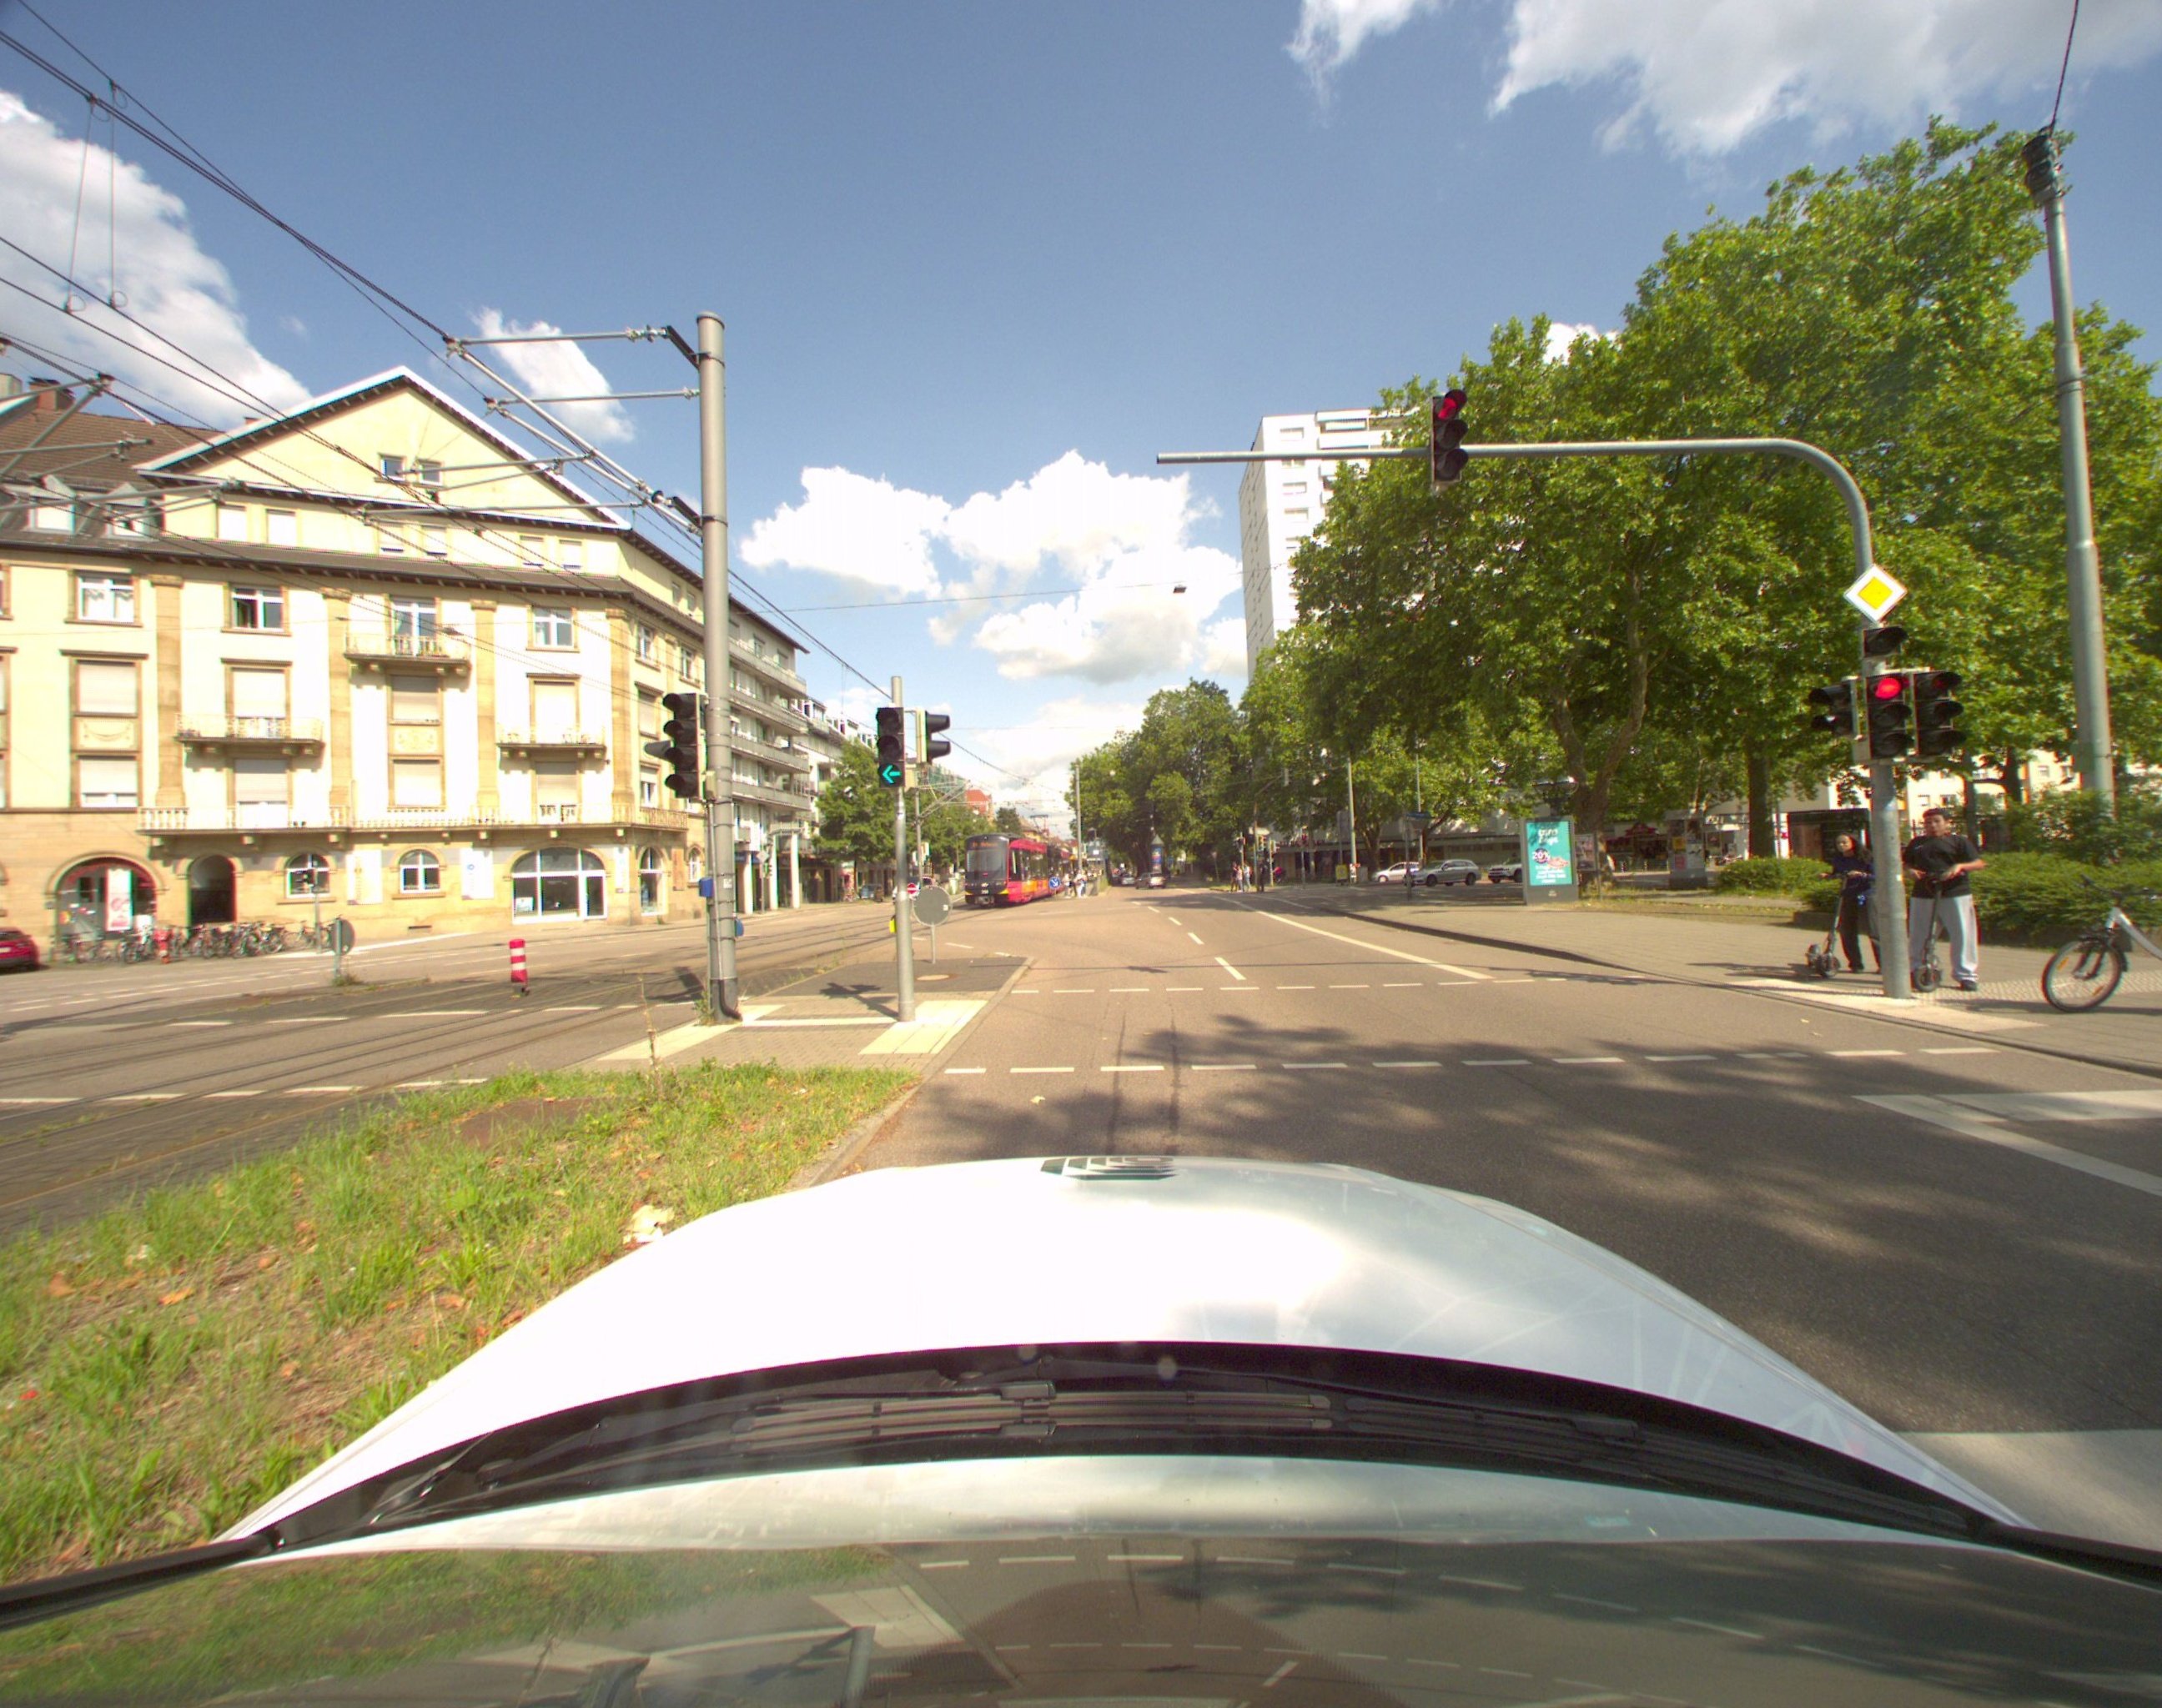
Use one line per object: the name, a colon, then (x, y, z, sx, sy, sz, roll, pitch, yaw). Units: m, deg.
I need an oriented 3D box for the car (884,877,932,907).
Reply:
car: (-12.156, 2.659, 57.679, 1.985, 1.891, 5.175, -3, -1, 3)

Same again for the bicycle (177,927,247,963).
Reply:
bicycle: (-30.296, 3.159, 28.429, 0.538, 1.018, 1.923, -2, 1, -8)

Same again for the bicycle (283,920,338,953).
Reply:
bicycle: (-28.687, 3.059, 30.353, 0.609, 1.018, 1.868, -2, 0, -13)

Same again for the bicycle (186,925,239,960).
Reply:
bicycle: (-31.270, 3.183, 29.355, 0.541, 1.018, 1.914, -2, 1, -23)

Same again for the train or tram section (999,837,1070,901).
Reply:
train or tram section: (-2.784, 0.966, 52.650, 2.792, 3.561, 11.196, -3, -1, 5)

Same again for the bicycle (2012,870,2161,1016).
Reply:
bicycle: (8.790, 0.698, 6.525, 1.610, 1.112, 0.510, -7, -3, 41)

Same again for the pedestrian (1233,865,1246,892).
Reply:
pedestrian: (9.574, 1.470, 49.217, 0.512, 1.598, 0.553, -2, -2, -19)

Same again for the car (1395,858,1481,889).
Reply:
car: (19.665, 1.082, 44.872, 3.993, 1.490, 1.852, -2, -2, -15)

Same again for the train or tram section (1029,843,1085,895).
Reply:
train or tram section: (-1.721, 1.190, 64.309, 2.792, 3.561, 12.172, -3, -1, 5)

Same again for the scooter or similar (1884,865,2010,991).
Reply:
scooter or similar: (8.731, 0.731, 8.250, 0.538, 1.171, 0.882, -5, -1, 28)

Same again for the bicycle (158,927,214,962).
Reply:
bicycle: (-31.895, 3.199, 29.055, 0.541, 1.018, 1.914, -2, 1, -23)

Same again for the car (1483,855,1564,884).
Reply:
car: (25.663, 0.914, 47.256, 4.075, 1.490, 1.849, -2, -2, -19)

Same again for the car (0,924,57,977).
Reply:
car: (-35.029, 3.125, 26.253, 3.948, 1.441, 1.981, -1, 0, 31)

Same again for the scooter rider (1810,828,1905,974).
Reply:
scooter rider: (8.906, 0.531, 9.353, 0.438, 1.593, 0.541, -4, -1, -20)

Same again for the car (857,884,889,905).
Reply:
car: (-19.137, 3.728, 75.107, 1.840, 1.789, 4.001, 0, -1, 2)

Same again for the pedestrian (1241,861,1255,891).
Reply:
pedestrian: (9.805, 1.270, 47.851, 0.529, 1.735, 0.553, -2, -2, -19)

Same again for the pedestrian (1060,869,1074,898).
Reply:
pedestrian: (-0.849, 1.735, 48.601, 0.666, 1.703, 0.649, -3, -2, 5)

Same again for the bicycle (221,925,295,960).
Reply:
bicycle: (-29.003, 3.098, 28.738, 0.598, 1.018, 1.879, -2, 0, 4)

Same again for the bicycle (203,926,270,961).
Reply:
bicycle: (-29.782, 3.140, 28.752, 0.538, 1.018, 1.923, -2, 0, -8)

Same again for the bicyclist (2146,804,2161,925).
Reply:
bicyclist: (8.965, 0.412, 6.353, 0.576, 1.668, 0.510, -7, -3, 41)

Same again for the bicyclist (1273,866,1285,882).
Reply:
bicyclist: (15.210, 1.522, 62.517, 0.803, 1.251, 0.485, -1, -2, 30)

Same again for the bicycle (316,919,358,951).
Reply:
bicycle: (-27.937, 3.029, 30.596, 0.611, 1.018, 1.861, -2, 1, -25)

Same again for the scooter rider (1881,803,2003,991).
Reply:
scooter rider: (8.706, 0.426, 8.267, 0.538, 1.810, 0.684, -5, -2, 28)

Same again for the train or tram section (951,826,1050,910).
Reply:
train or tram section: (-3.776, 0.711, 41.455, 2.783, 3.561, 11.391, -3, -1, 5)

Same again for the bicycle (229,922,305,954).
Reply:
bicycle: (-30.293, 3.109, 30.341, 1.928, 1.018, 0.537, -2, 1, -20)

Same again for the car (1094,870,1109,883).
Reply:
car: (2.901, 3.139, 114.093, 1.806, 1.804, 4.006, -3, -1, 5)

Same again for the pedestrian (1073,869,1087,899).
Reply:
pedestrian: (-0.063, 1.785, 48.614, 0.666, 1.703, 0.649, -3, -2, 5)

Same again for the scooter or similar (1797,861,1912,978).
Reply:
scooter or similar: (8.857, 0.733, 9.330, 0.877, 1.226, 0.541, -4, -1, -20)

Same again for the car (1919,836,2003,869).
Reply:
car: (47.251, -0.074, 43.746, 4.003, 1.501, 1.678, -3, -1, -22)

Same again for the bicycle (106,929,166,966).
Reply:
bicycle: (-32.832, 3.231, 28.320, 0.541, 1.018, 1.914, -2, 1, -23)

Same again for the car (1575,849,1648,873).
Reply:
car: (36.459, 0.488, 55.978, 3.831, 1.490, 1.857, -3, -1, -5)

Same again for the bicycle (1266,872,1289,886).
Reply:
bicycle: (15.103, 1.918, 62.571, 1.660, 1.089, 0.485, -1, -2, 30)

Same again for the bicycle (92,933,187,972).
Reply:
bicycle: (-30.757, 3.203, 26.635, 1.938, 1.018, 0.534, -3, 1, -39)

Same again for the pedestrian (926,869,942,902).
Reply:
pedestrian: (-8.989, 1.920, 49.780, 0.734, 2.014, 0.705, -3, -2, 8)

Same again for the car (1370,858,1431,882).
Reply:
car: (22.564, 1.127, 57.604, 3.638, 1.484, 1.741, -3, -1, 10)

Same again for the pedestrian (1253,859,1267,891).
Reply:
pedestrian: (10.128, 1.185, 46.045, 0.475, 1.825, 0.560, -4, -2, 45)

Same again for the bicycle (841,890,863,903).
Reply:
bicycle: (-19.017, 3.557, 67.613, 1.684, 0.986, 0.497, -3, -2, -1)

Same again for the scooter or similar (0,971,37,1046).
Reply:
scooter or similar: (-12.591, 1.776, 9.203, 0.836, 0.804, 0.553, -3, -2, -2)

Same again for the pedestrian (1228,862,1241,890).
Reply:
pedestrian: (9.383, 1.363, 49.771, 0.512, 1.671, 0.553, -2, -2, -19)

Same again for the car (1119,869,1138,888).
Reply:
car: (5.461, 2.822, 94.261, 1.986, 2.014, 4.001, -1, -1, 2)

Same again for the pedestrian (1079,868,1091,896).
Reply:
pedestrian: (0.251, 1.739, 50.673, 0.666, 1.703, 0.649, -3, -2, 5)

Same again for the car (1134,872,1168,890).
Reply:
car: (6.169, 2.378, 71.982, 1.753, 1.453, 3.583, -2, -1, -18)

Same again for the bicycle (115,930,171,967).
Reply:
bicycle: (-31.924, 3.210, 27.751, 0.541, 1.018, 1.912, -2, 1, -27)
